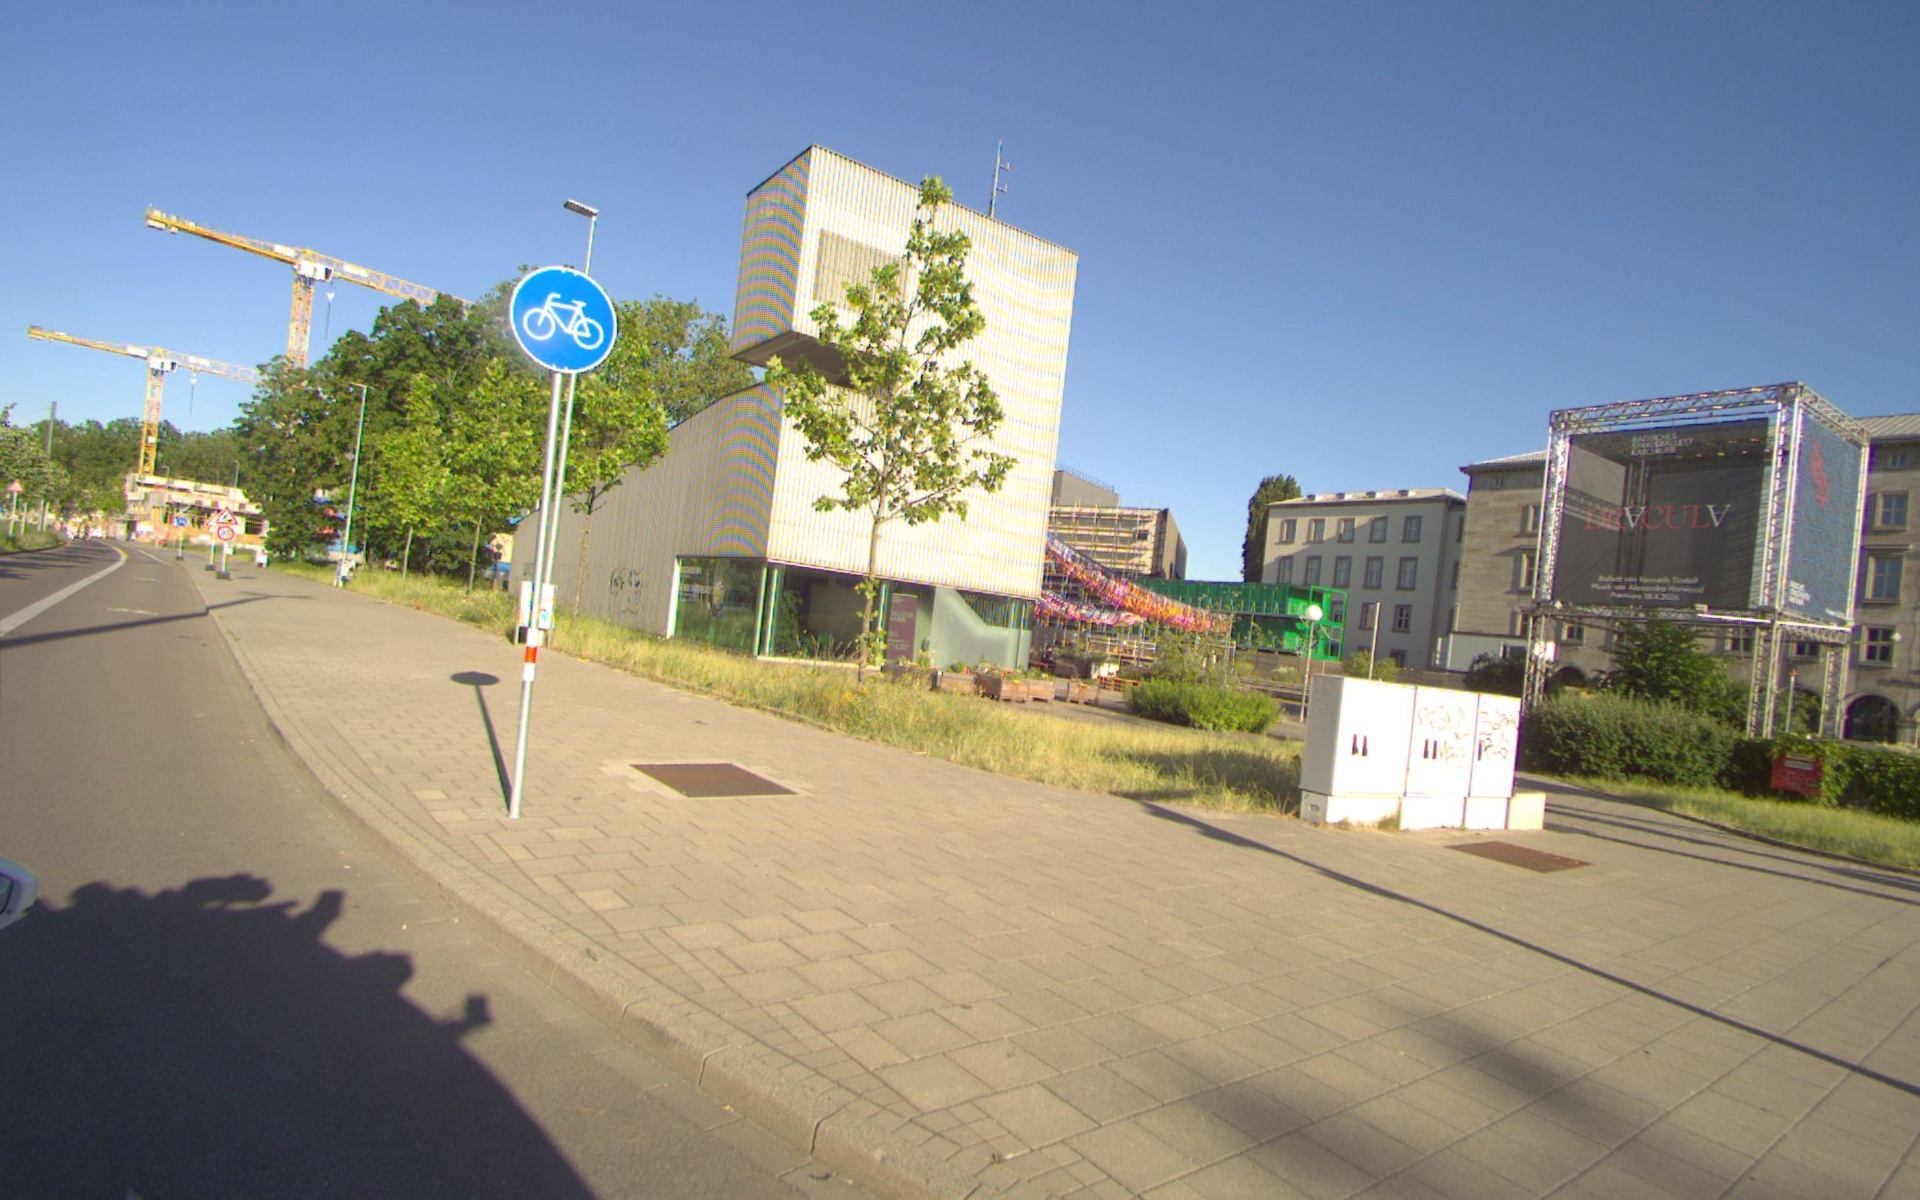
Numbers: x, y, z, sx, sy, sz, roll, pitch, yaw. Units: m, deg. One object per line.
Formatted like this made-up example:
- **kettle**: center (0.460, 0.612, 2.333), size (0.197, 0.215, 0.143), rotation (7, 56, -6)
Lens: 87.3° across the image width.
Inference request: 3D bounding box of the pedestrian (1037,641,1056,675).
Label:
- **pedestrian**: center (3.735, 2.516, 43.660), size (0.636, 1.398, 0.631), rotation (6, 0, 1)
